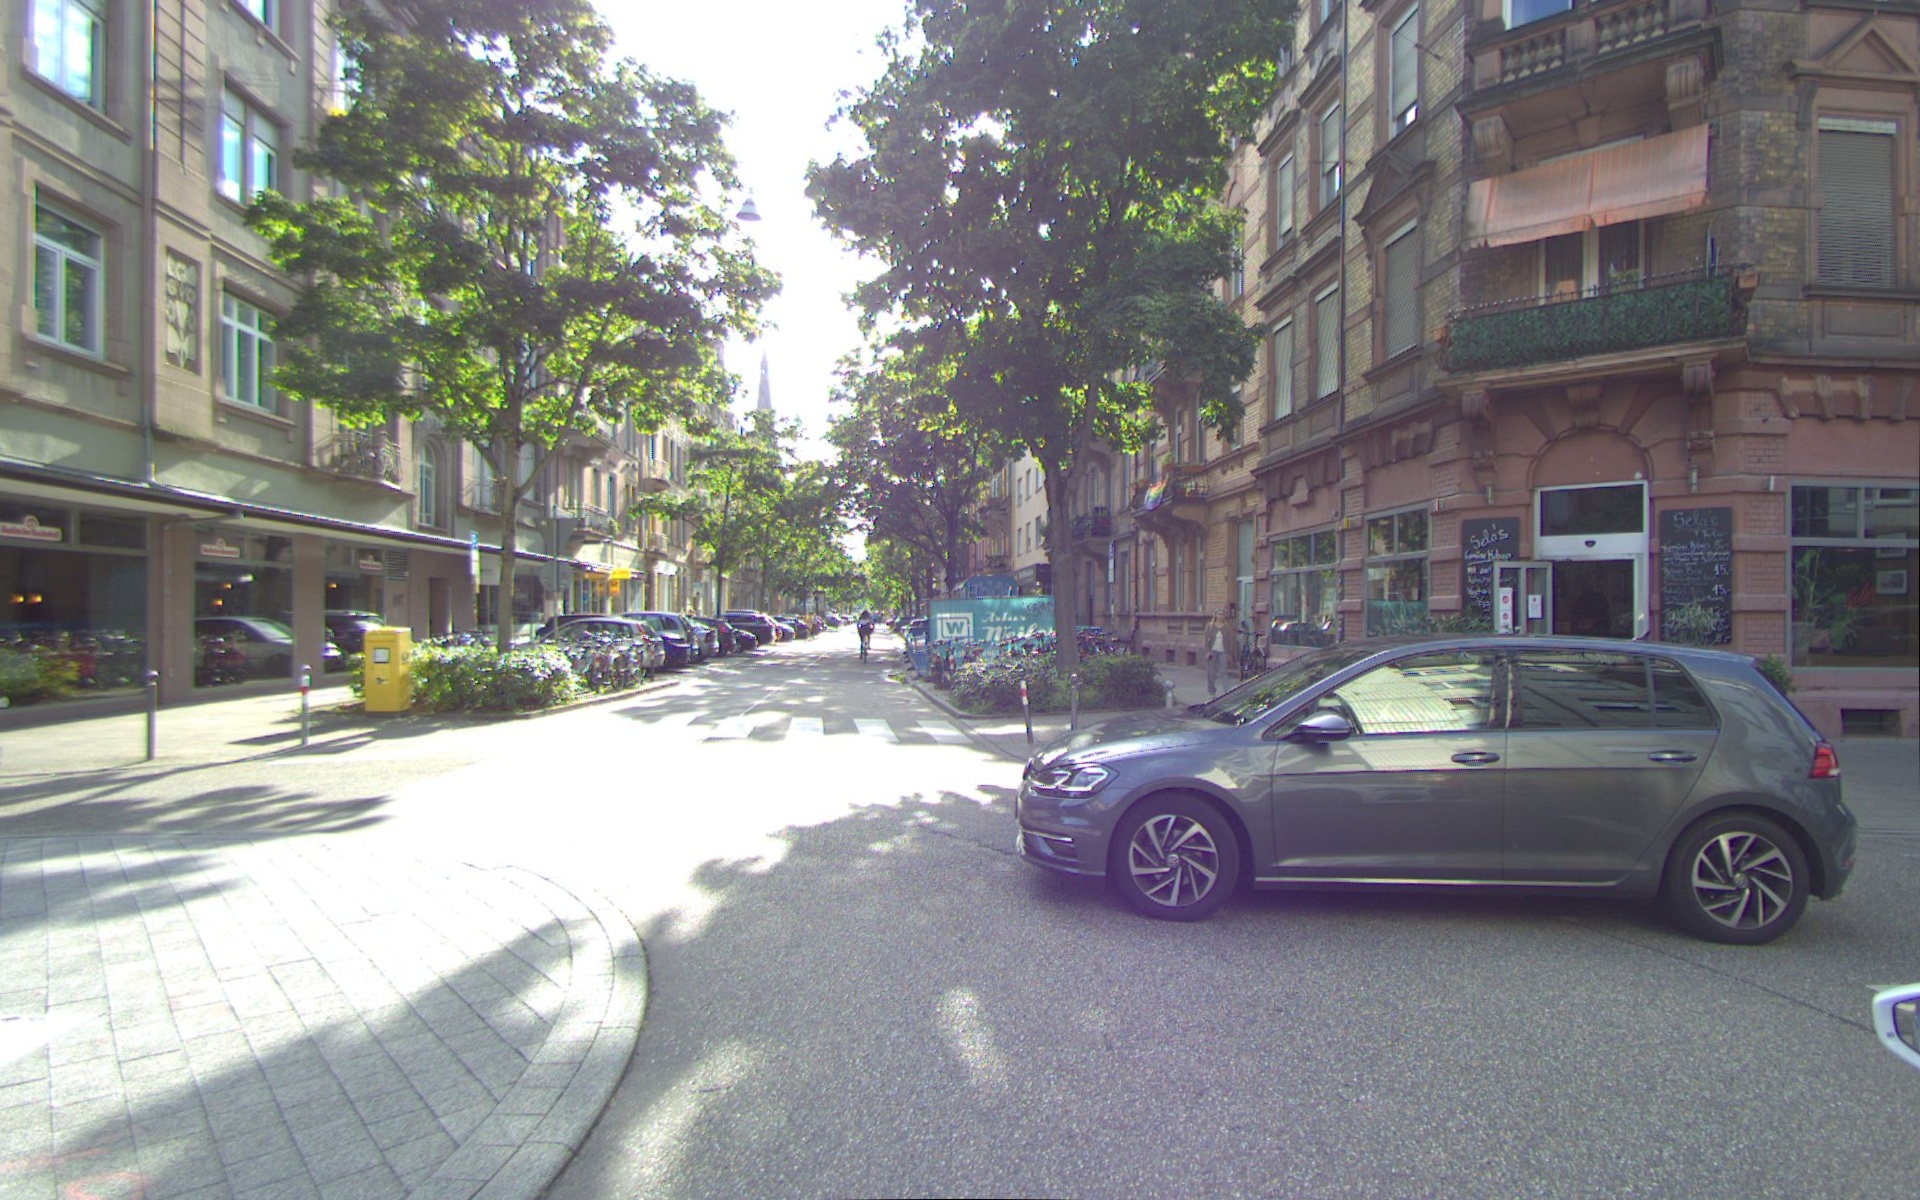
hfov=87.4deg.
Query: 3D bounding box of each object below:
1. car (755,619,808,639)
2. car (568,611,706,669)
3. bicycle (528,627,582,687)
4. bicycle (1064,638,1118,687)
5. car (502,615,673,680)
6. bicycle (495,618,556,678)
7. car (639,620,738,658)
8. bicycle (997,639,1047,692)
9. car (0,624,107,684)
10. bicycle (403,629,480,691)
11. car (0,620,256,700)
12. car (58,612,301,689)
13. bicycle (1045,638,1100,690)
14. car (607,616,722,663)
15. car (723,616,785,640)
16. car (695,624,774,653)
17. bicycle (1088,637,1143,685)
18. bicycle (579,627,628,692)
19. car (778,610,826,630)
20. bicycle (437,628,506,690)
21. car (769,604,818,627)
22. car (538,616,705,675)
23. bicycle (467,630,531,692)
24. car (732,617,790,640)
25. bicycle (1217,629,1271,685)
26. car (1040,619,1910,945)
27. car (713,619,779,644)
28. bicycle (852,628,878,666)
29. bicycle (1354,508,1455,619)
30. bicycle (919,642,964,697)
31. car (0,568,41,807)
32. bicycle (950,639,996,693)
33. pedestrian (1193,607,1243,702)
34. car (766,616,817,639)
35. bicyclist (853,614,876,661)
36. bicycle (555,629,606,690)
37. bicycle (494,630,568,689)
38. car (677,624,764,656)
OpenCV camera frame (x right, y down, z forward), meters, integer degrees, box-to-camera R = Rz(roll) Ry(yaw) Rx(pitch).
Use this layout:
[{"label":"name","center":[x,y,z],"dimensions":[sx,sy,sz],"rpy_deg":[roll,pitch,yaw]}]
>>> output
[{"label":"car","center":[-11.782,1.919,66.449],"dimensions":[3.275,1.333,1.406],"rpy_deg":[0,-2,-4]},{"label":"car","center":[-9.519,1.164,29.797],"dimensions":[3.628,1.618,1.576],"rpy_deg":[0,1,-4]},{"label":"bicycle","center":[-8.332,1.137,20.756],"dimensions":[0.470,1.149,2.261],"rpy_deg":[0,-1,-7]},{"label":"bicycle","center":[2.927,1.390,22.625],"dimensions":[0.581,0.981,2.073],"rpy_deg":[-2,0,-10]},{"label":"car","center":[-9.120,1.146,24.799],"dimensions":[3.627,1.496,1.576],"rpy_deg":[0,1,-2]},{"label":"bicycle","center":[-8.750,0.937,20.331],"dimensions":[0.470,1.149,2.429],"rpy_deg":[0,-1,-7]},{"label":"car","center":[-9.825,1.415,36.516],"dimensions":[3.275,1.350,1.376],"rpy_deg":[0,-2,-4]},{"label":"bicycle","center":[1.324,1.382,21.757],"dimensions":[0.581,1.025,2.073],"rpy_deg":[-2,0,-10]},{"label":"car","center":[-28.260,1.596,30.603],"dimensions":[1.548,1.587,3.632],"rpy_deg":[0,1,-3]},{"label":"bicycle","center":[-10.342,1.159,20.121],"dimensions":[0.569,1.149,2.429],"rpy_deg":[0,-1,-7]},{"label":"car","center":[-16.829,1.162,20.248],"dimensions":[3.933,1.449,1.761],"rpy_deg":[0,1,-15]},{"label":"car","center":[-17.470,1.083,22.697],"dimensions":[3.933,1.572,1.761],"rpy_deg":[0,1,-15]},{"label":"bicycle","center":[2.429,1.368,21.902],"dimensions":[0.581,1.025,2.073],"rpy_deg":[-2,0,-10]},{"label":"car","center":[-9.351,1.260,31.973],"dimensions":[3.275,1.462,1.376],"rpy_deg":[0,-2,-4]},{"label":"car","center":[-11.652,1.568,56.969],"dimensions":[3.275,1.333,1.406],"rpy_deg":[0,-2,-4]},{"label":"car","center":[-10.073,1.716,45.043],"dimensions":[3.275,1.270,1.376],"rpy_deg":[0,-2,-4]},{"label":"bicycle","center":[3.544,1.385,23.108],"dimensions":[0.581,0.981,2.073],"rpy_deg":[-2,0,-10]},{"label":"bicycle","center":[-7.308,1.188,20.668],"dimensions":[0.470,1.240,2.291],"rpy_deg":[0,-1,-7]},{"label":"car","center":[-12.391,1.538,78.943],"dimensions":[3.648,1.492,1.803],"rpy_deg":[0,1,-8]},{"label":"bicycle","center":[-9.783,1.151,20.203],"dimensions":[0.470,1.149,2.429],"rpy_deg":[0,-1,-7]},{"label":"car","center":[-12.002,1.129,72.617],"dimensions":[3.295,1.615,1.595],"rpy_deg":[0,1,-4]},{"label":"car","center":[-9.113,1.201,27.266],"dimensions":[3.996,1.496,1.576],"rpy_deg":[0,1,-4]},{"label":"bicycle","center":[-9.260,1.192,20.273],"dimensions":[0.470,1.149,2.429],"rpy_deg":[0,-1,-7]},{"label":"car","center":[-11.837,1.720,59.846],"dimensions":[3.275,1.333,1.406],"rpy_deg":[0,-2,-4]},{"label":"bicycle","center":[6.047,1.196,21.449],"dimensions":[0.518,1.081,1.782],"rpy_deg":[1,0,-4]},{"label":"car","center":[2.424,0.863,5.626],"dimensions":[3.919,1.456,1.799],"rpy_deg":[0,-2,5]},{"label":"car","center":[-11.443,1.695,53.817],"dimensions":[3.275,1.333,1.406],"rpy_deg":[0,-2,-4]},{"label":"bicycle","center":[-3.327,1.618,35.252],"dimensions":[0.679,1.215,1.978],"rpy_deg":[1,1,1]},{"label":"bicycle","center":[6.581,-0.488,14.995],"dimensions":[0.545,1.541,2.165],"rpy_deg":[0,-1,0]},{"label":"bicycle","center":[-0.417,1.452,21.434],"dimensions":[0.581,1.043,2.138],"rpy_deg":[-2,0,-10]},{"label":"car","center":[-9.288,0.660,6.712],"dimensions":[4.255,1.814,1.831],"rpy_deg":[0,-2,-13]},{"label":"bicycle","center":[0.267,1.394,21.700],"dimensions":[0.581,1.043,2.073],"rpy_deg":[-2,0,-10]},{"label":"pedestrian","center":[4.528,0.940,17.681],"dimensions":[0.603,1.599,0.810],"rpy_deg":[-3,1,0]},{"label":"car","center":[-11.545,1.900,68.943],"dimensions":[3.275,1.495,1.406],"rpy_deg":[0,-2,-4]},{"label":"bicyclist","center":[-3.331,1.295,35.135],"dimensions":[0.679,1.608,1.128],"rpy_deg":[1,1,1]},{"label":"bicycle","center":[-7.841,1.197,20.820],"dimensions":[0.470,1.173,2.289],"rpy_deg":[0,-1,-7]},{"label":"bicycle","center":[-9.200,1.241,21.649],"dimensions":[0.695,1.117,2.511],"rpy_deg":[-1,0,-5]},{"label":"car","center":[-9.816,1.642,41.318],"dimensions":[3.275,1.270,1.376],"rpy_deg":[0,-2,-4]}]
